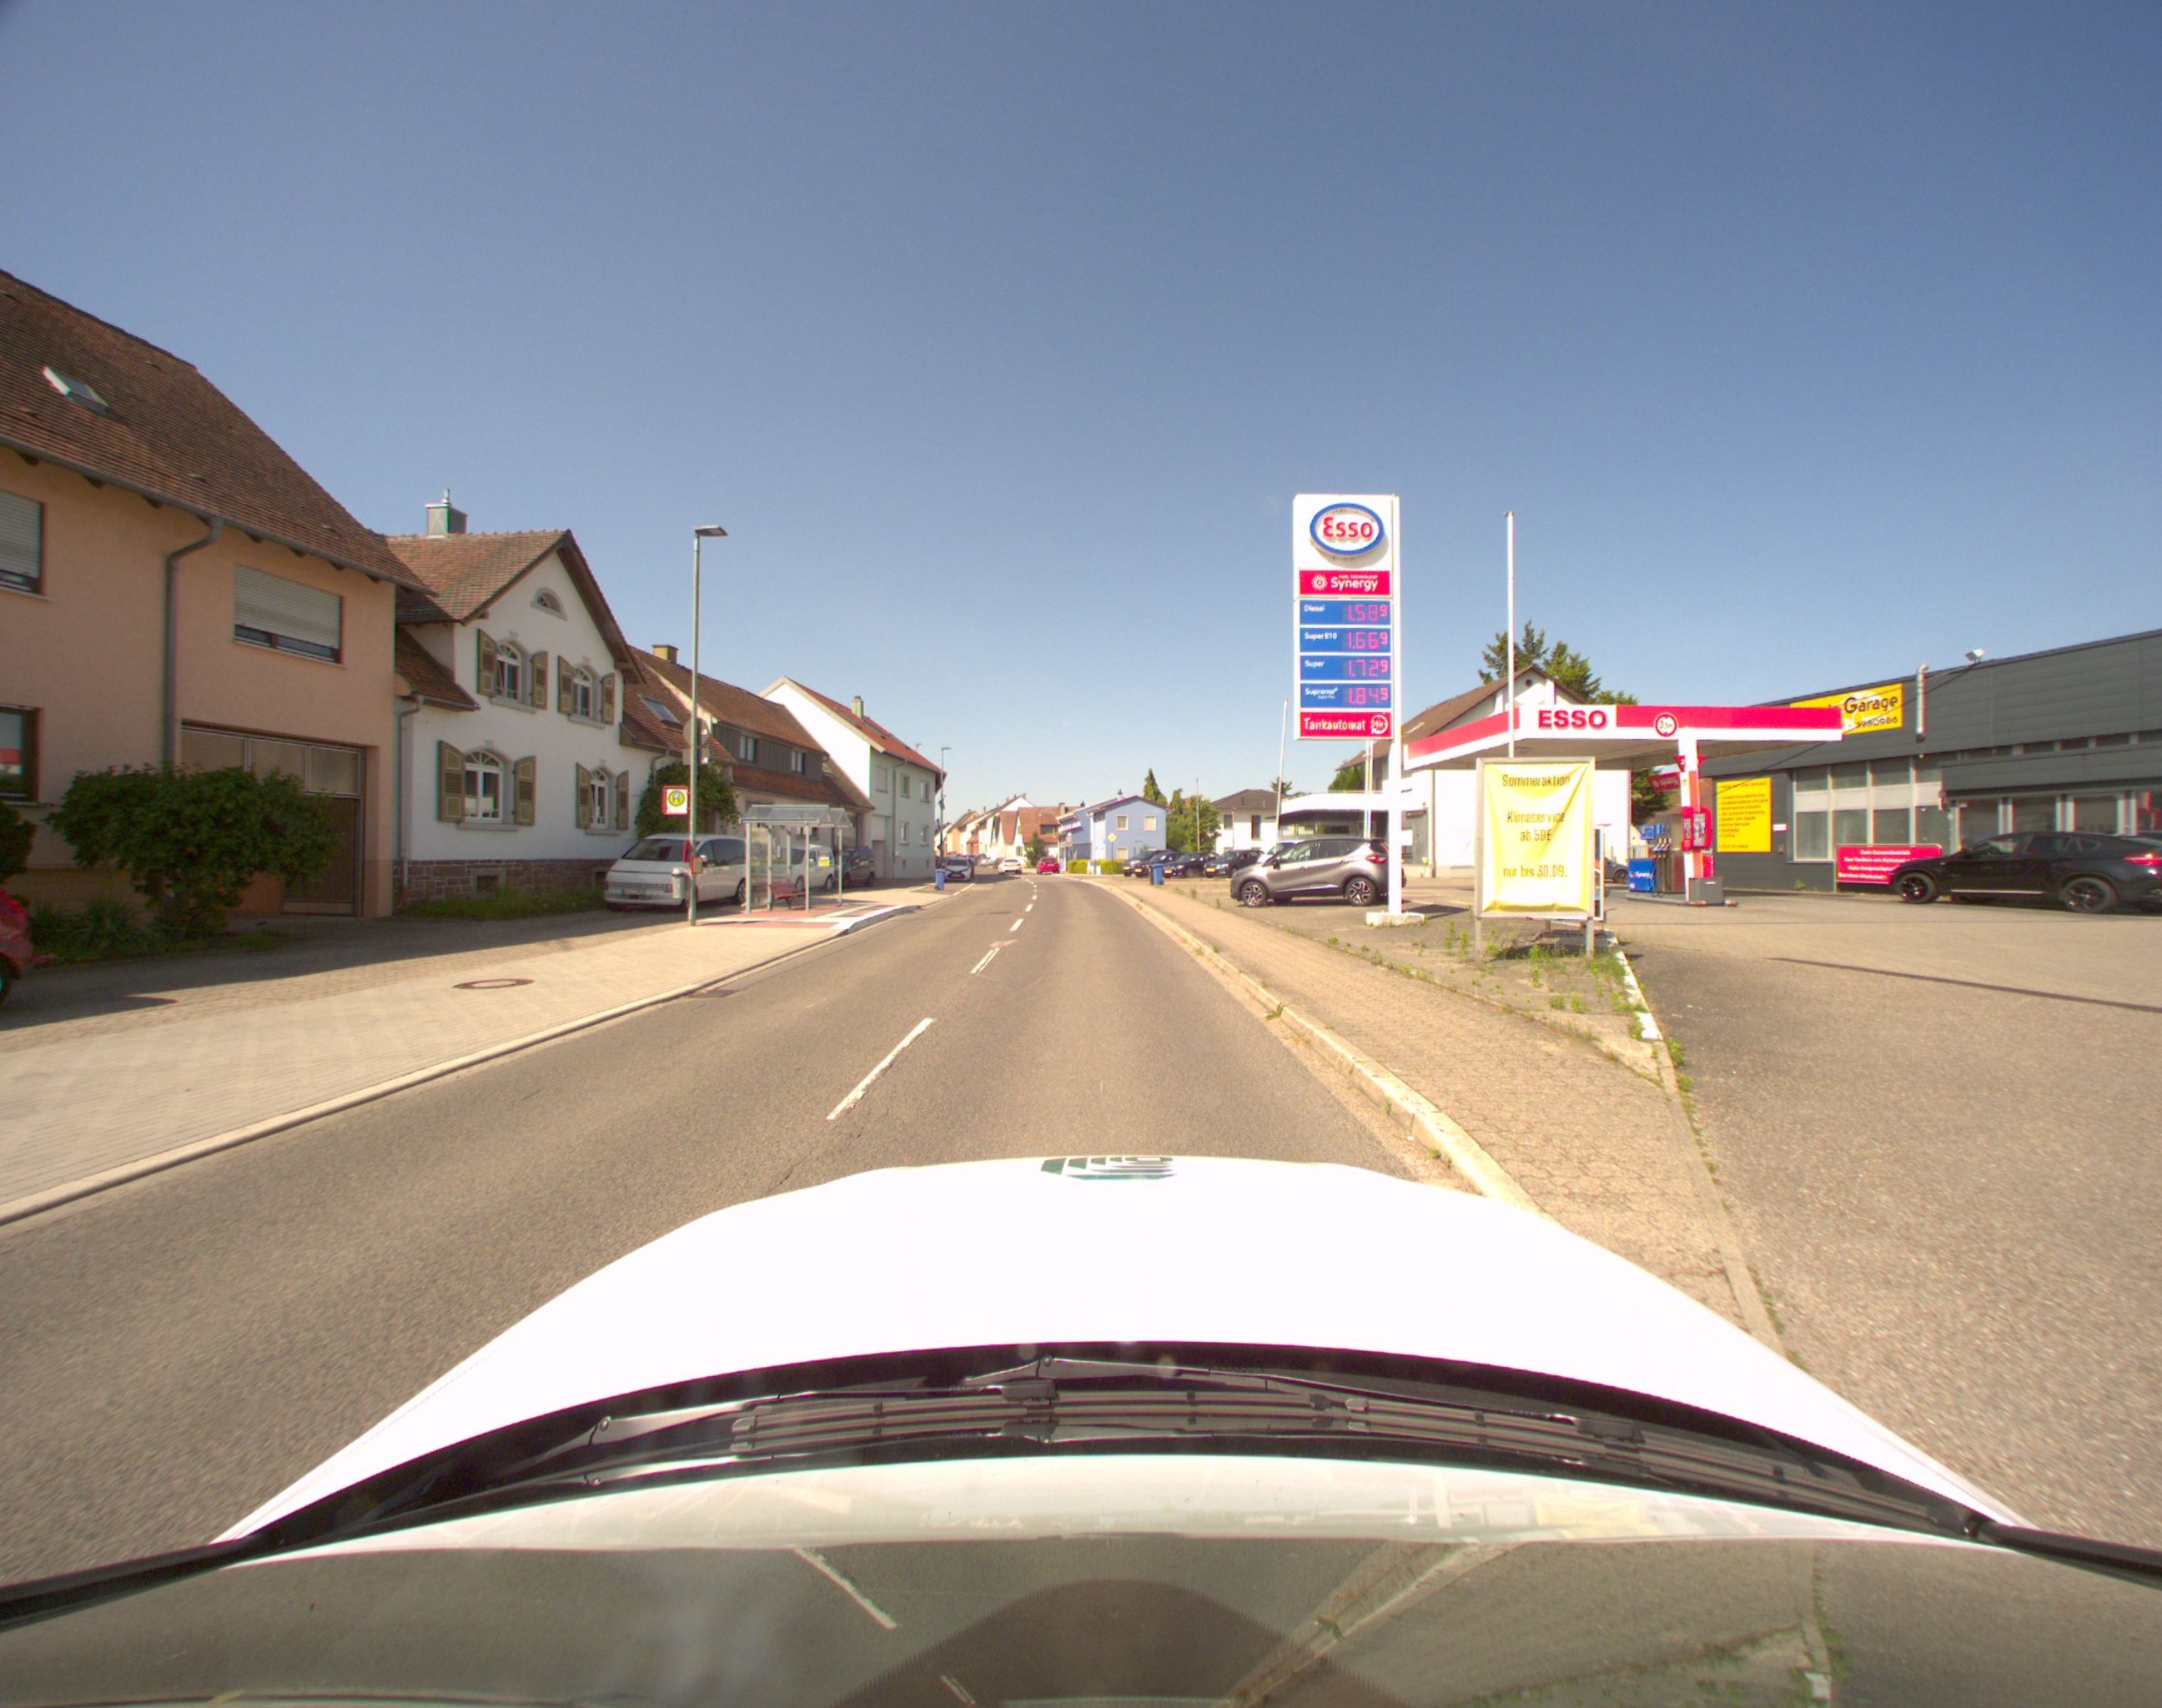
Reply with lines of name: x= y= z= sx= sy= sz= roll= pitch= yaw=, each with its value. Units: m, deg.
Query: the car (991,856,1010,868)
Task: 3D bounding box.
car: x=-10.154 y=1.039 z=102.309 sx=1.708 sy=1.433 sz=3.869 roll=1 pitch=0 yaw=-15

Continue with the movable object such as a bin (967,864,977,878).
movable object such as a bin: x=-7.887 y=1.208 z=58.716 sx=0.552 sy=0.928 sz=0.821 roll=4 pitch=-1 yaw=-15

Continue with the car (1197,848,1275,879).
car: x=8.407 y=0.511 z=43.997 sx=4.341 sy=1.550 sz=1.960 roll=-1 pitch=0 yaw=-43

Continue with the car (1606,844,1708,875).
car: x=29.653 y=0.294 z=42.060 sx=4.025 sy=1.480 sz=1.821 roll=1 pitch=-1 yaw=24

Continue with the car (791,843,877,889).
car: x=-10.535 y=0.494 z=35.133 sx=1.827 sy=1.793 sz=4.352 roll=2 pitch=0 yaw=8

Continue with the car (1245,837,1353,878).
car: x=11.363 y=0.159 z=42.410 sx=5.298 sy=2.013 sz=2.212 roll=-1 pitch=0 yaw=-27

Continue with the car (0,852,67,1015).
car: x=-10.542 y=0.735 z=5.796 sx=1.709 sy=1.453 sz=3.915 roll=1 pitch=1 yaw=1

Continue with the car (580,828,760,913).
car: x=-10.727 y=0.418 z=21.826 sx=2.119 sy=1.986 sz=5.264 roll=0 pitch=-1 yaw=0

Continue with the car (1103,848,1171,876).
car: x=3.484 y=0.480 z=50.545 sx=4.136 sy=1.653 sz=1.809 roll=-1 pitch=0 yaw=-41

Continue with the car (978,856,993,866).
car: x=-13.862 y=0.991 z=118.410 sx=1.708 sy=1.497 sz=3.434 roll=1 pitch=-1 yaw=-16

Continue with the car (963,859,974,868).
car: x=-18.446 y=1.559 z=133.758 sx=1.423 sy=1.515 sz=3.286 roll=1 pitch=-1 yaw=-15

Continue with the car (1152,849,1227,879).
car: x=6.126 y=0.538 z=45.635 sx=4.264 sy=1.565 sz=1.960 roll=-1 pitch=0 yaw=-45

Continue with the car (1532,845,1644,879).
car: x=23.056 y=0.357 z=37.101 sx=4.054 sy=1.479 sz=1.809 roll=-1 pitch=-1 yaw=-5

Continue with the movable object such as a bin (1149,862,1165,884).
movable object such as a bin: x=3.333 y=0.847 z=35.765 sx=0.557 sy=0.936 sz=0.513 roll=-1 pitch=0 yaw=-11

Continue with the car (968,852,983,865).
car: x=-15.973 y=0.744 z=123.118 sx=1.652 sy=1.910 sz=3.606 roll=1 pitch=-1 yaw=-16

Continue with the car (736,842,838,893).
car: x=-10.877 y=0.497 z=30.471 sx=1.959 sy=1.774 sz=4.282 roll=0 pitch=-1 yaw=4

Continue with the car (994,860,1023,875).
car: x=-6.654 y=1.243 z=74.562 sx=1.997 sy=1.288 sz=3.979 roll=-1 pitch=0 yaw=-15

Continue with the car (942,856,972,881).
car: x=-7.549 y=0.870 z=49.723 sx=1.682 sy=1.462 sz=3.640 roll=0 pitch=-1 yaw=-7

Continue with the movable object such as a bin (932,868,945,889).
movable object such as a bin: x=-6.507 y=1.113 z=37.140 sx=0.557 sy=0.936 sz=0.513 roll=2 pitch=-1 yaw=-11

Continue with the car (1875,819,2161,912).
car: x=20.590 y=0.176 z=17.566 sx=1.804 sy=1.741 sz=4.802 roll=0 pitch=1 yaw=-11

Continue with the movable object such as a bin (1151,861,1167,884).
movable object such as a bin: x=3.379 y=0.800 z=35.210 sx=0.557 sy=0.939 sz=0.513 roll=-1 pitch=0 yaw=-11

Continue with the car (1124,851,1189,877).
car: x=4.474 y=0.567 z=47.996 sx=3.896 sy=1.447 sz=1.729 roll=-1 pitch=0 yaw=-45

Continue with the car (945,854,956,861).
car: x=-25.582 y=0.725 z=159.376 sx=1.769 sy=1.433 sz=3.433 roll=-1 pitch=0 yaw=-14

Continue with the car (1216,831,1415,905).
car: x=5.526 y=0.357 z=19.399 sx=4.127 sy=1.555 sz=1.786 roll=-3 pitch=-1 yaw=36

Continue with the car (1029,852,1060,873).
car: x=-3.216 y=0.685 z=71.373 sx=1.736 sy=1.494 sz=4.333 roll=-2 pitch=4 yaw=-16
